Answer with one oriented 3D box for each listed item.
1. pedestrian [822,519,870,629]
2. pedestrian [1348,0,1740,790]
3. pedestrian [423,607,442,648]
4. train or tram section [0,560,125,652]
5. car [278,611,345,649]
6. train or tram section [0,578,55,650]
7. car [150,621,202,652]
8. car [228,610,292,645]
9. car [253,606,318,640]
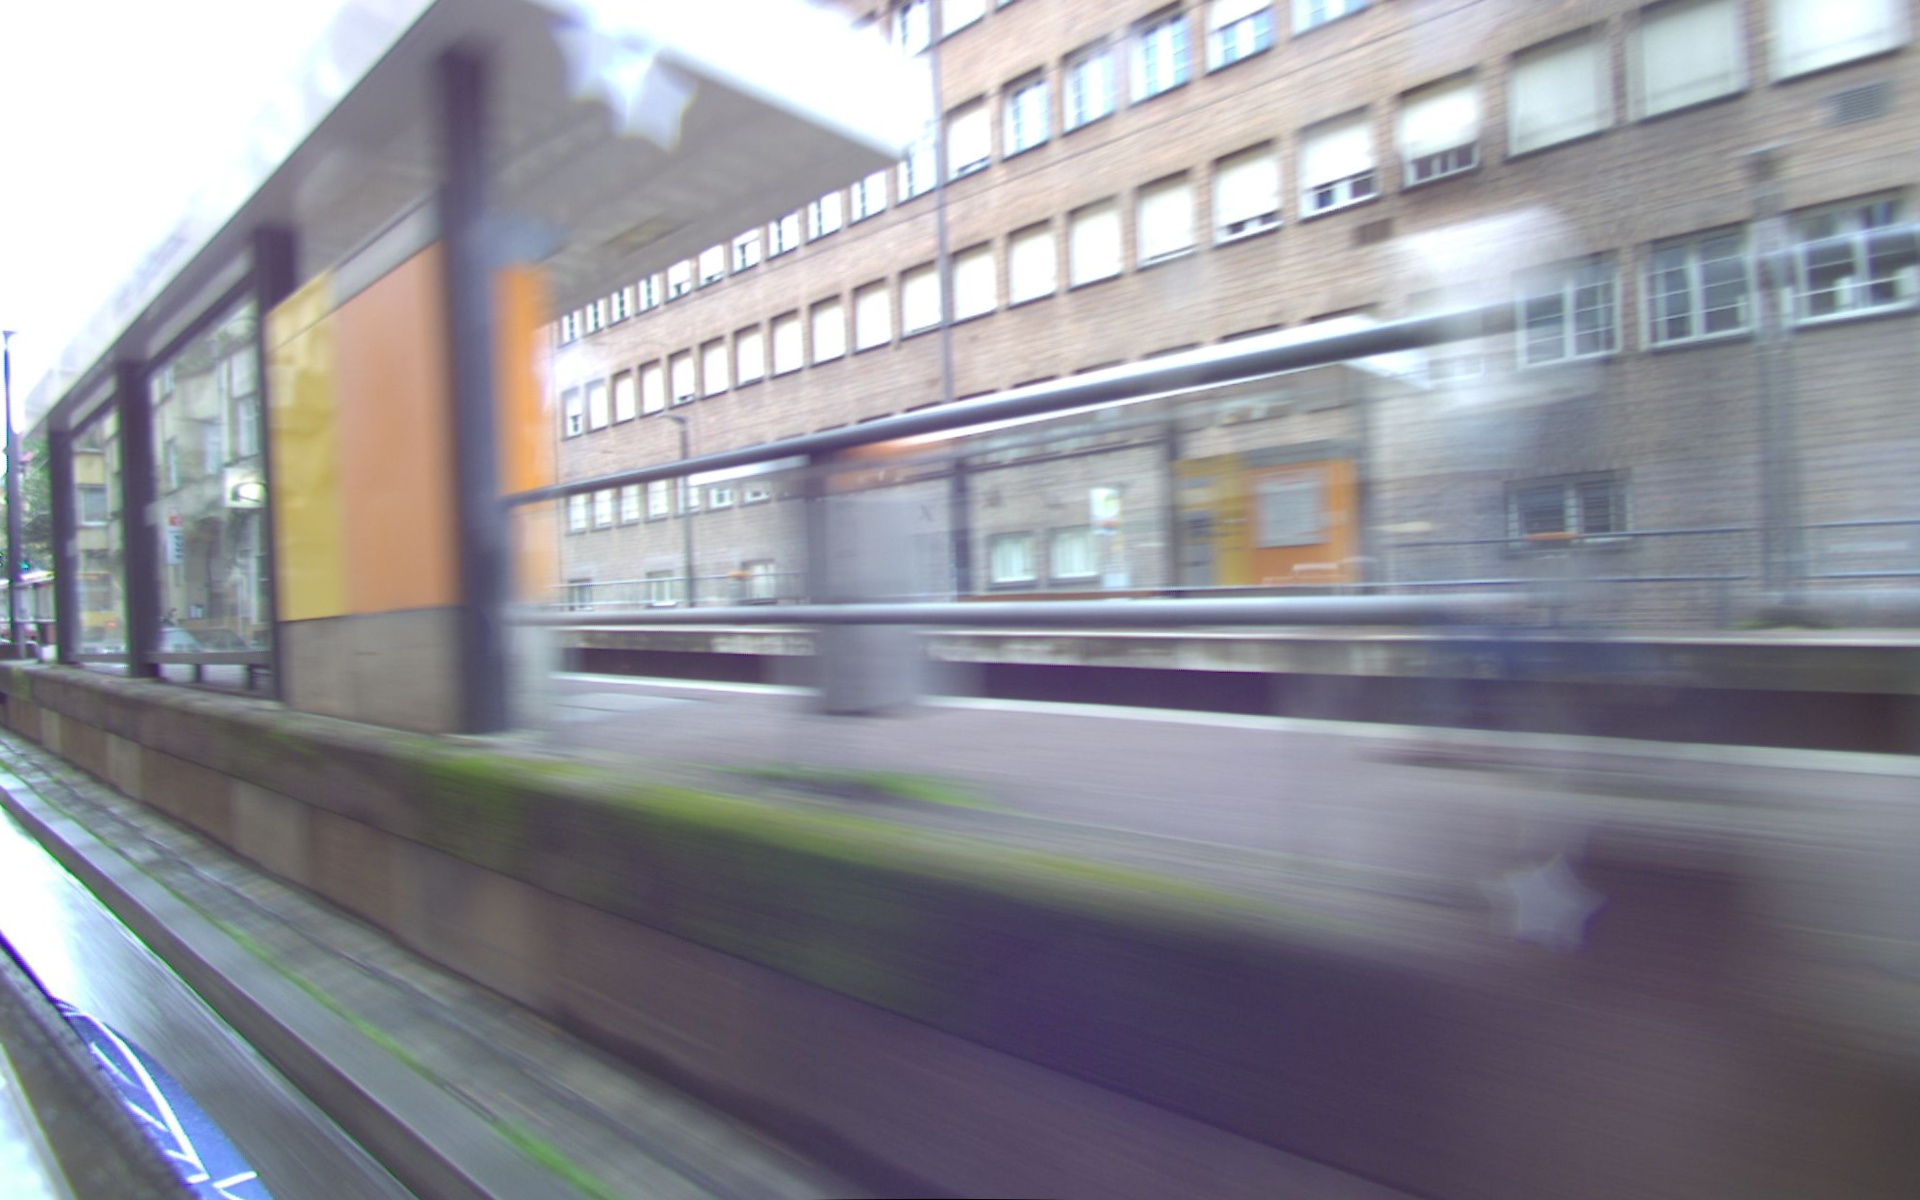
[{"bbox_3d":[-1.811,-0.399,16.101,0.491,1.722,0.581,-2,-2,40],"label":"pedestrian"},{"bbox_3d":[1.466,-0.507,2.540,0.710,1.788,0.637,-1,0,41],"label":"pedestrian"},{"bbox_3d":[-21.902,1.143,42.035,0.542,1.666,0.542,-2,-1,42],"label":"pedestrian"},{"bbox_3d":[-45.942,0.381,51.001,19.850,3.950,2.687,-1,0,41],"label":"train or tram section"},{"bbox_3d":[-27.305,1.254,42.585,3.111,1.477,1.627,-2,0,43],"label":"car"},{"bbox_3d":[-59.948,0.907,63.180,19.287,3.950,2.687,-1,0,41],"label":"train or tram section"},{"bbox_3d":[-46.339,2.140,59.801,4.096,1.719,1.627,-2,0,41],"label":"car"},{"bbox_3d":[-33.508,1.300,48.389,4.338,1.593,1.627,-2,0,43],"label":"car"},{"bbox_3d":[-30.056,1.007,45.064,3.632,1.414,1.627,-2,0,43],"label":"car"}]
